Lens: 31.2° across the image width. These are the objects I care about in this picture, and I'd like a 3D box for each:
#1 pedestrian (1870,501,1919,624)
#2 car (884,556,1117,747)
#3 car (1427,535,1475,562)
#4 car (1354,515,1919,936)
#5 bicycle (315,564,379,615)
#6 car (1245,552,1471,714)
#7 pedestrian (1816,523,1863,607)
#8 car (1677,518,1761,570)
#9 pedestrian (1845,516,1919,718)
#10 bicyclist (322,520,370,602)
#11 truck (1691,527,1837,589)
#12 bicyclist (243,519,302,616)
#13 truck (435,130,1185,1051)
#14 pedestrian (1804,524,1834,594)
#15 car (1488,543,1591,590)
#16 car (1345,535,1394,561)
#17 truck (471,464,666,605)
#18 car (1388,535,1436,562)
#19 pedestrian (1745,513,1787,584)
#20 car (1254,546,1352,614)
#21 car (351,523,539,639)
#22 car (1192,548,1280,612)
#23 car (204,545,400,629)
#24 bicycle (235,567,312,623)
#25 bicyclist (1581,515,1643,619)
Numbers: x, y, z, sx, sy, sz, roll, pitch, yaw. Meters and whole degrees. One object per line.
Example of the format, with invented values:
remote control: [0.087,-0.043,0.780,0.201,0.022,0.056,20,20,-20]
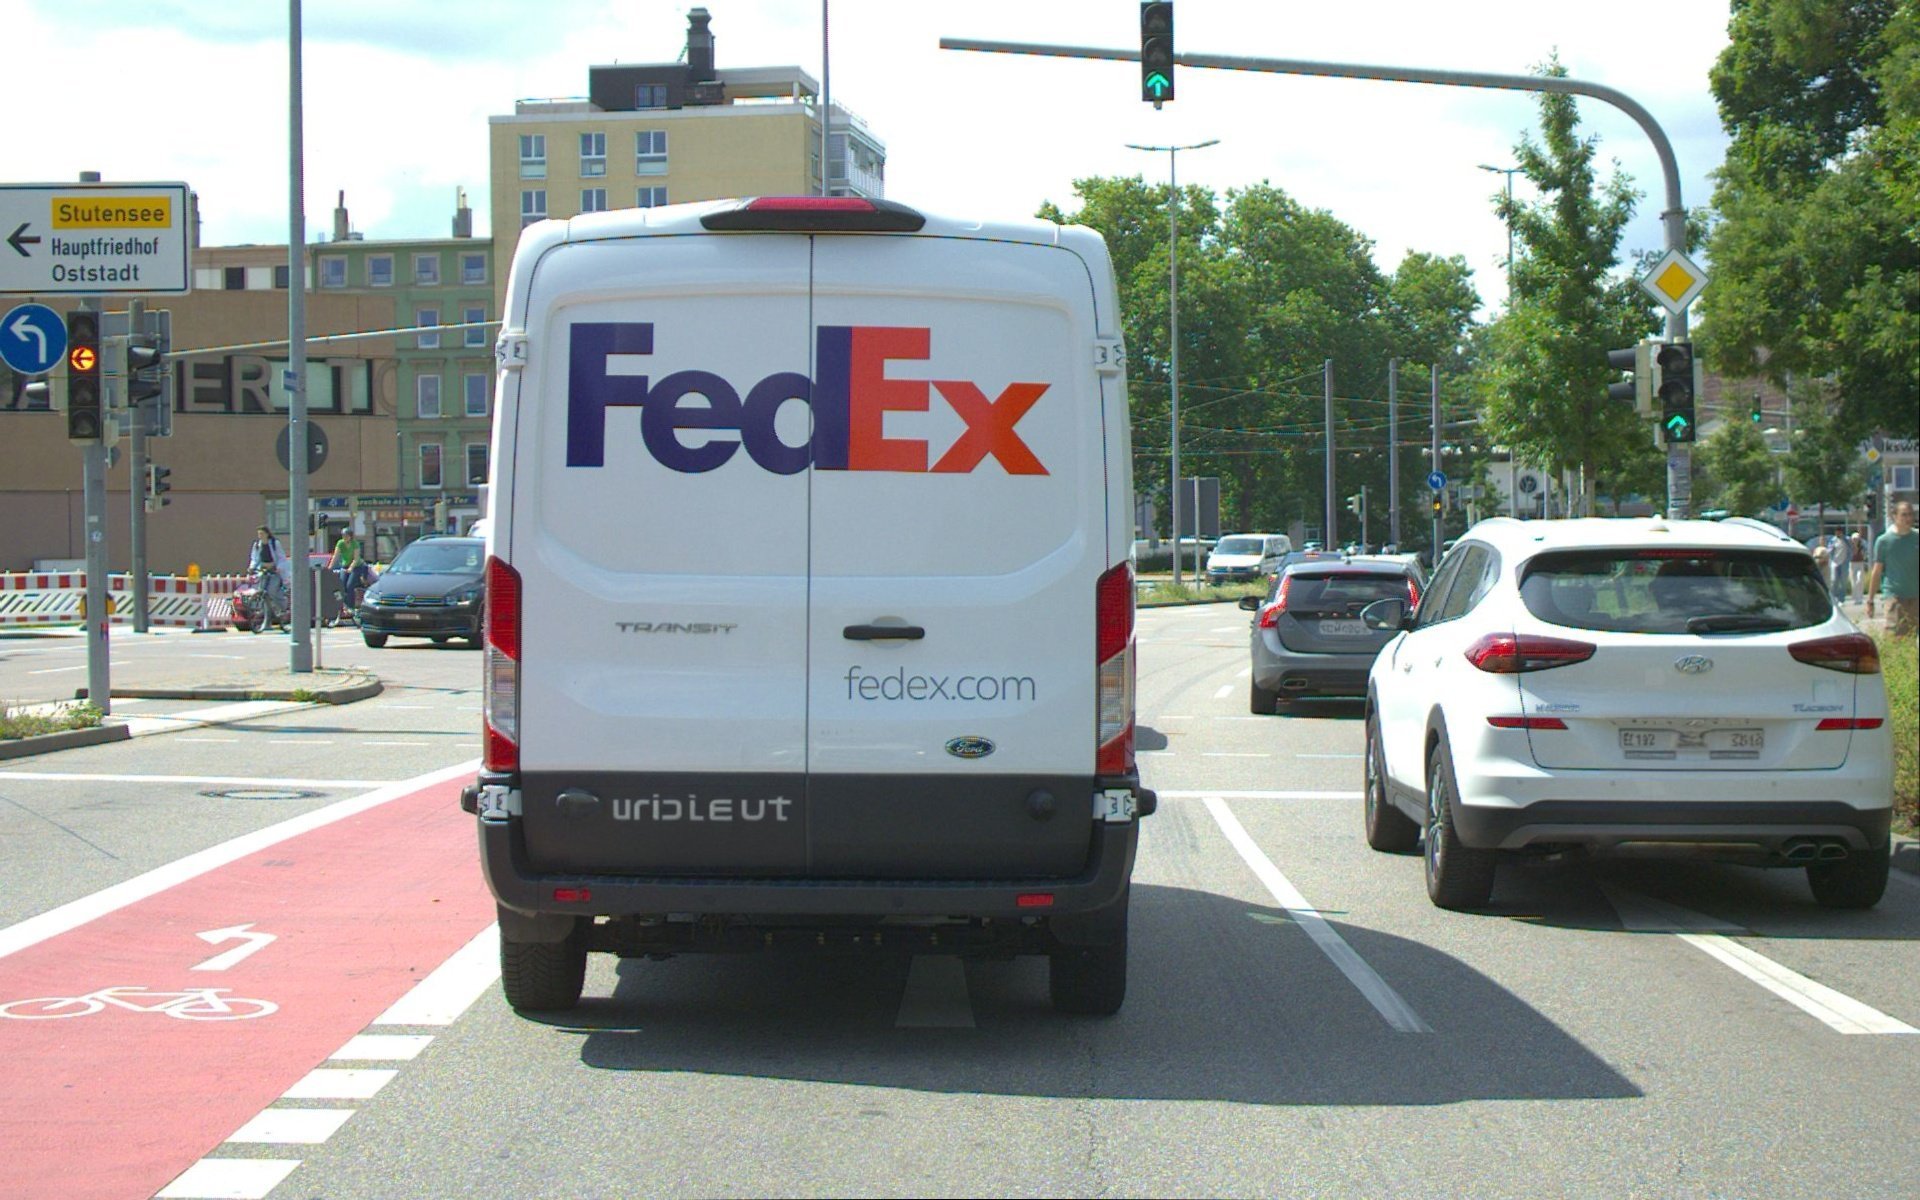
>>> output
pedestrian: [14.033,-0.565,51.301,0.750,1.796,0.609,-2,1,6]
car: [0.391,0.363,28.053,1.741,1.387,4.179,-1,1,2]
car: [29.863,-3.119,208.976,1.996,1.568,4.173,1,0,21]
car: [2.908,0.448,15.575,1.881,1.635,4.232,-1,1,2]
bicycle: [-11.009,-0.192,61.806,0.567,0.886,1.742,-1,1,10]
car: [3.759,0.275,33.062,1.915,1.415,3.918,-1,1,3]
pedestrian: [19.789,-0.786,77.355,0.756,1.815,0.780,-4,0,2]
car: [24.672,-1.828,111.656,1.883,1.635,3.952,0,1,24]
pedestrian: [8.529,0.139,30.982,0.749,1.771,0.882,-2,1,-6]
bicyclist: [-11.029,-0.707,61.740,0.565,1.456,0.836,-1,1,10]
truck: [38.522,-2.032,164.451,2.892,2.842,8.771,0,1,42]
bicyclist: [-11.562,-0.556,57.853,0.776,1.613,0.843,-1,1,2]
truck: [-0.485,-0.061,12.848,2.137,2.631,5.918,0,1,-1]
pedestrian: [19.887,-0.948,79.620,0.587,1.620,0.727,1,0,8]
car: [23.893,-1.377,141.612,4.076,1.918,1.809,1,0,12]
car: [25.163,-3.186,211.165,1.996,1.568,4.173,1,0,21]
truck: [-8.827,-1.441,78.355,1.995,3.057,7.326,1,0,14]
car: [27.642,-3.151,210.173,1.996,1.568,4.173,1,0,21]
pedestrian: [18.196,-1.151,77.600,0.756,1.584,0.761,1,0,2]
car: [7.947,-0.481,79.451,1.882,1.501,4.153,1,1,11]
car: [-7.531,-0.312,50.659,1.881,1.618,4.155,0,1,4]
car: [8.924,-0.633,110.977,1.995,2.007,4.119,1,0,17]
car: [-12.316,-0.266,64.581,1.995,1.481,3.902,-1,1,17]
bicycle: [-11.553,-0.093,57.917,0.776,0.886,2.108,-1,1,2]
bicyclist: [10.285,-0.518,54.239,0.828,1.596,0.579,-3,-1,6]
